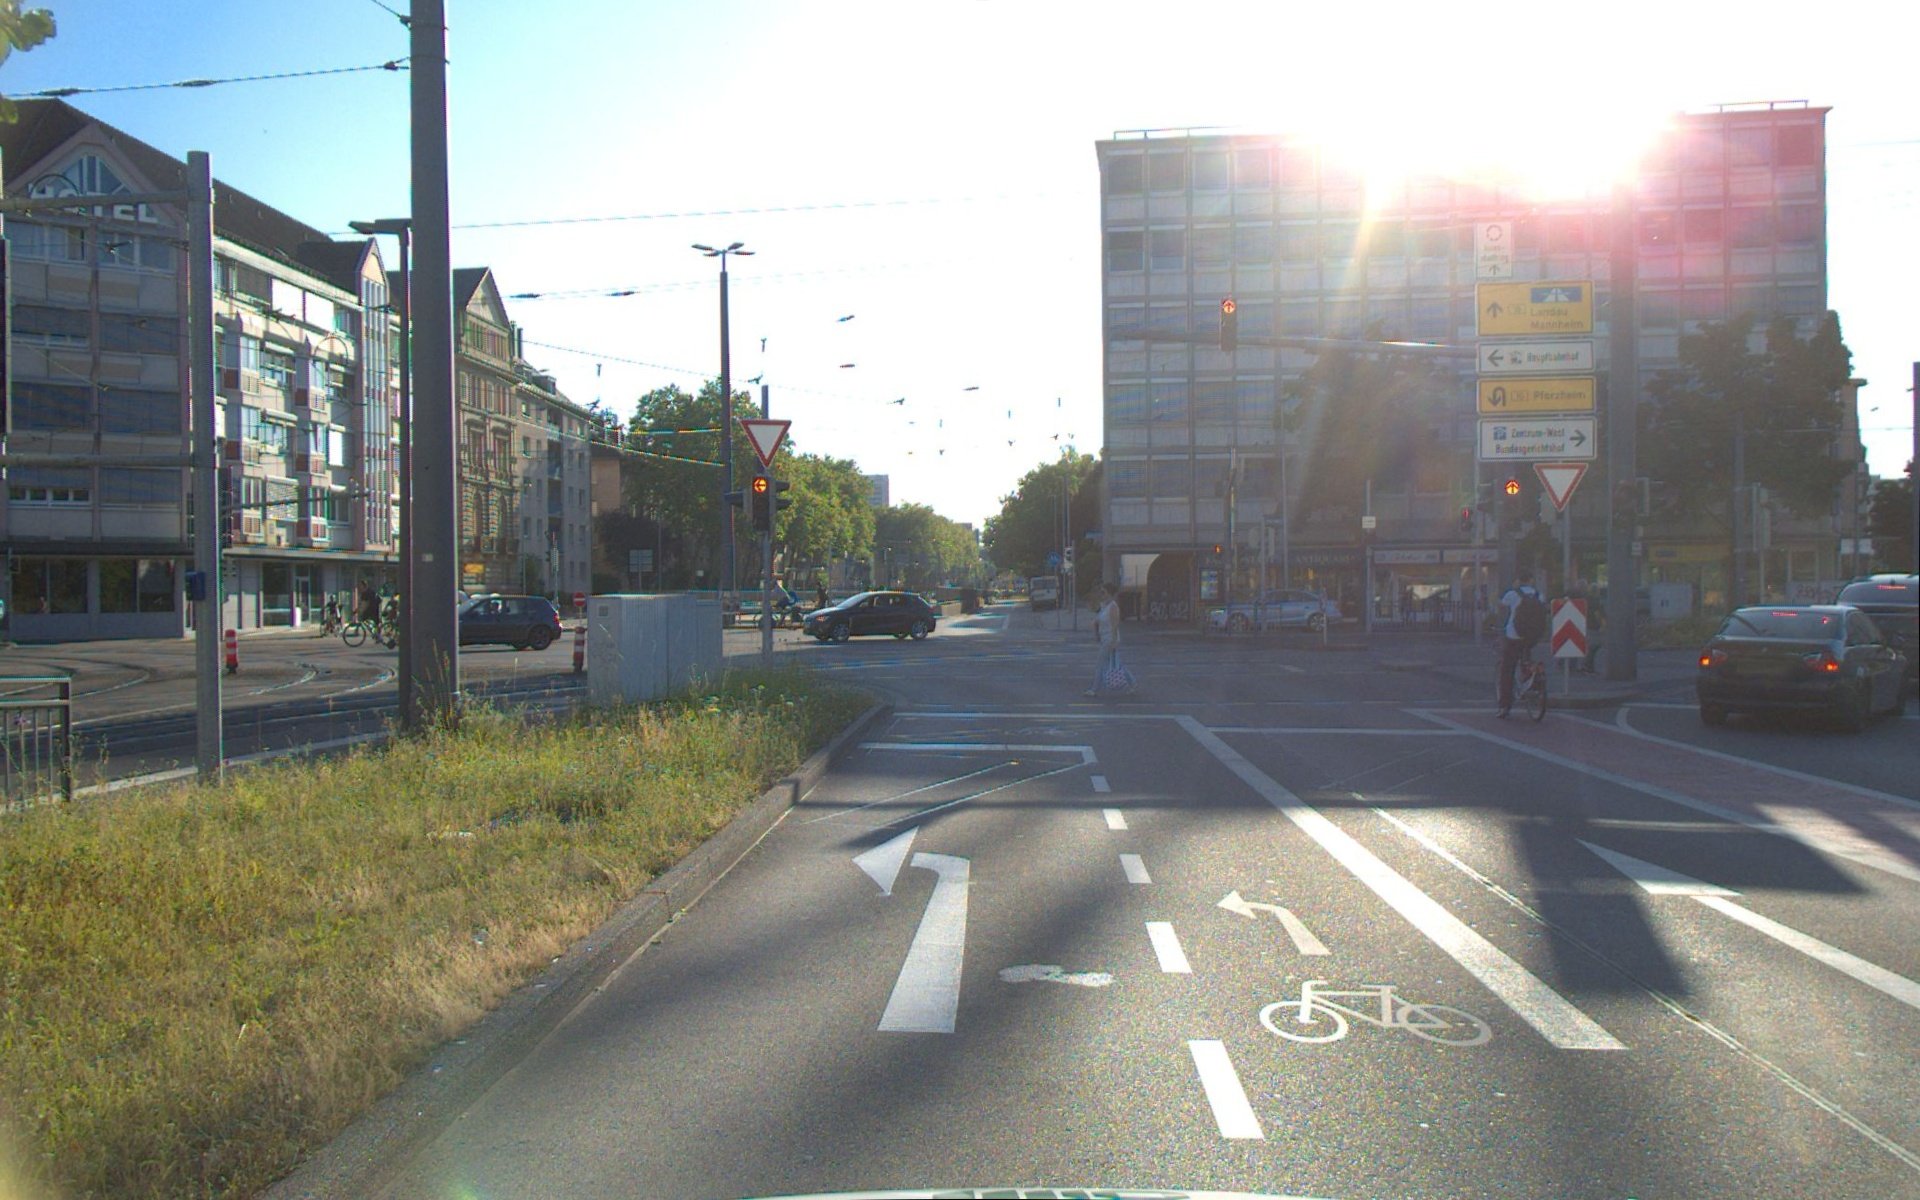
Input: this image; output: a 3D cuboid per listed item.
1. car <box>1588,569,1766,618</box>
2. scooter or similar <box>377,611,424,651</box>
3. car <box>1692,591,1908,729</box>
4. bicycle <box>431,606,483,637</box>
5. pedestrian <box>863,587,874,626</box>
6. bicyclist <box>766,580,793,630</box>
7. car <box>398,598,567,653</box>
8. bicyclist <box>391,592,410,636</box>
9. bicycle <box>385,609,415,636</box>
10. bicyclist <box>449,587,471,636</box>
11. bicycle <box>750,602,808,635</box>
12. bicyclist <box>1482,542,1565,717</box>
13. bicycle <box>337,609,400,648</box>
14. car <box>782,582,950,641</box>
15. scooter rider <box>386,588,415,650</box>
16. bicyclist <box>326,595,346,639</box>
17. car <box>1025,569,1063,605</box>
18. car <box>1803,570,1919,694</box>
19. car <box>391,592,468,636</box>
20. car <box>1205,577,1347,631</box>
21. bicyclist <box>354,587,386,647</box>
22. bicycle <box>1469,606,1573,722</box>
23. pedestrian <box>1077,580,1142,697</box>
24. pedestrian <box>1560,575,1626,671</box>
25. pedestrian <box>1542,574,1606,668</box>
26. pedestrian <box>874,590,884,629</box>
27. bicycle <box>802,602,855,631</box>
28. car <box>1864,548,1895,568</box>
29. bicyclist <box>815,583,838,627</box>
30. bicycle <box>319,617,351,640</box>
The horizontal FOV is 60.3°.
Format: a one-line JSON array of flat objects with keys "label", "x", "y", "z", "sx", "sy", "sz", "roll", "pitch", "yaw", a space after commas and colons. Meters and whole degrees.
[{"label": "car", "x": 22.804, "y": -0.210, "z": 52.722, "sx": 4.815, "sy": 1.504, "sz": 2.001, "roll": -1, "pitch": 0, "yaw": 5}, {"label": "scooter or similar", "x": -15.738, "y": 0.859, "z": 46.524, "sx": 1.149, "sy": 1.091, "sz": 0.529, "roll": -1, "pitch": 0, "yaw": -8}, {"label": "car", "x": 10.119, "y": 0.632, "z": 19.780, "sx": 1.714, "sy": 1.451, "sz": 3.985, "roll": 0, "pitch": 0, "yaw": 36}, {"label": "bicycle", "x": -18.138, "y": 0.765, "z": 59.670, "sx": 1.699, "sy": 1.078, "sz": 0.538, "roll": -1, "pitch": 0, "yaw": -8}, {"label": "pedestrian", "x": -3.595, "y": 0.250, "z": 64.955, "sx": 0.358, "sy": 1.534, "sz": 0.542, "roll": -1, "pitch": 0, "yaw": -5}, {"label": "bicyclist", "x": -6.601, "y": 0.189, "z": 60.427, "sx": 0.880, "sy": 1.783, "sz": 0.654, "roll": -1, "pitch": 0, "yaw": -2}, {"label": "car", "x": -12.633, "y": 0.651, "z": 43.805, "sx": 3.954, "sy": 1.310, "sz": 1.825, "roll": -1, "pitch": 0, "yaw": -35}, {"label": "bicyclist", "x": -26.208, "y": 0.634, "z": 77.476, "sx": 0.590, "sy": 2.049, "sz": 0.779, "roll": -1, "pitch": 0, "yaw": 5}, {"label": "bicycle", "x": -26.217, "y": 1.056, "z": 77.472, "sx": 0.595, "sy": 1.222, "sz": 1.969, "roll": -1, "pitch": 0, "yaw": 6}, {"label": "bicyclist", "x": -18.048, "y": 0.424, "z": 59.682, "sx": 0.651, "sy": 1.742, "sz": 0.537, "roll": -1, "pitch": 0, "yaw": -8}, {"label": "bicycle", "x": -6.608, "y": 0.674, "z": 60.431, "sx": 2.052, "sy": 1.157, "sz": 0.658, "roll": -1, "pitch": 0, "yaw": -3}, {"label": "bicyclist", "x": 6.790, "y": 0.331, "z": 19.960, "sx": 0.630, "sy": 2.048, "sz": 1.068, "roll": 1, "pitch": 2, "yaw": 3}, {"label": "bicycle", "x": -17.492, "y": 0.828, "z": 48.960, "sx": 0.524, "sy": 1.091, "sz": 1.775, "roll": -1, "pitch": 0, "yaw": 35}, {"label": "car", "x": -2.833, "y": 0.319, "z": 49.838, "sx": 4.696, "sy": 1.624, "sz": 1.988, "roll": -1, "pitch": 0, "yaw": -21}, {"label": "scooter rider", "x": -15.737, "y": 0.530, "z": 46.522, "sx": 0.651, "sy": 1.742, "sz": 0.526, "roll": -1, "pitch": 0, "yaw": -8}, {"label": "bicyclist", "x": -27.020, "y": 0.745, "z": 71.598, "sx": 0.580, "sy": 1.894, "sz": 0.642, "roll": -1, "pitch": 0, "yaw": 3}, {"label": "car", "x": 5.960, "y": -0.891, "z": 117.862, "sx": 2.434, "sy": 2.434, "sz": 5.935, "roll": -2, "pitch": 0, "yaw": 1}, {"label": "car", "x": 14.413, "y": 0.418, "z": 25.196, "sx": 1.963, "sy": 1.723, "sz": 3.980, "roll": 2, "pitch": 2, "yaw": 40}, {"label": "car", "x": -24.253, "y": 0.619, "z": 75.689, "sx": 1.951, "sy": 1.892, "sz": 4.002, "roll": -1, "pitch": 0, "yaw": 4}, {"label": "car", "x": 10.213, "y": 0.122, "z": 53.656, "sx": 4.242, "sy": 1.624, "sz": 2.000, "roll": -1, "pitch": 0, "yaw": 1}, {"label": "bicyclist", "x": -17.475, "y": 0.496, "z": 48.995, "sx": 0.527, "sy": 1.742, "sz": 0.663, "roll": -1, "pitch": 0, "yaw": 35}, {"label": "bicycle", "x": 6.777, "y": 0.739, "z": 20.080, "sx": 0.631, "sy": 1.244, "sz": 2.049, "roll": 1, "pitch": 2, "yaw": 3}, {"label": "pedestrian", "x": 2.133, "y": 0.537, "z": 23.617, "sx": 0.860, "sy": 1.625, "sz": 0.655, "roll": -1, "pitch": 0, "yaw": 2}, {"label": "pedestrian", "x": 10.911, "y": 0.387, "z": 28.524, "sx": 0.860, "sy": 1.625, "sz": 0.655, "roll": -1, "pitch": 0, "yaw": 0}, {"label": "pedestrian", "x": 10.851, "y": 0.368, "z": 29.259, "sx": 0.860, "sy": 1.625, "sz": 0.655, "roll": -1, "pitch": 0, "yaw": 0}, {"label": "pedestrian", "x": -3.206, "y": 0.361, "z": 65.624, "sx": 0.358, "sy": 1.534, "sz": 0.542, "roll": -1, "pitch": 0, "yaw": -5}, {"label": "bicycle", "x": -5.385, "y": 0.683, "z": 68.000, "sx": 2.130, "sy": 1.157, "sz": 0.659, "roll": -1, "pitch": 0, "yaw": -3}, {"label": "car", "x": 69.628, "y": -3.146, "z": 125.282, "sx": 1.955, "sy": 1.422, "sz": 3.994, "roll": -1, "pitch": 0, "yaw": 28}, {"label": "bicyclist", "x": -5.497, "y": 0.203, "z": 67.990, "sx": 0.880, "sy": 1.783, "sz": 0.650, "roll": -1, "pitch": 0, "yaw": -2}, {"label": "bicycle", "x": -27.020, "y": 1.231, "z": 71.507, "sx": 0.586, "sy": 0.931, "sz": 1.837, "roll": -1, "pitch": 0, "yaw": 4}]
